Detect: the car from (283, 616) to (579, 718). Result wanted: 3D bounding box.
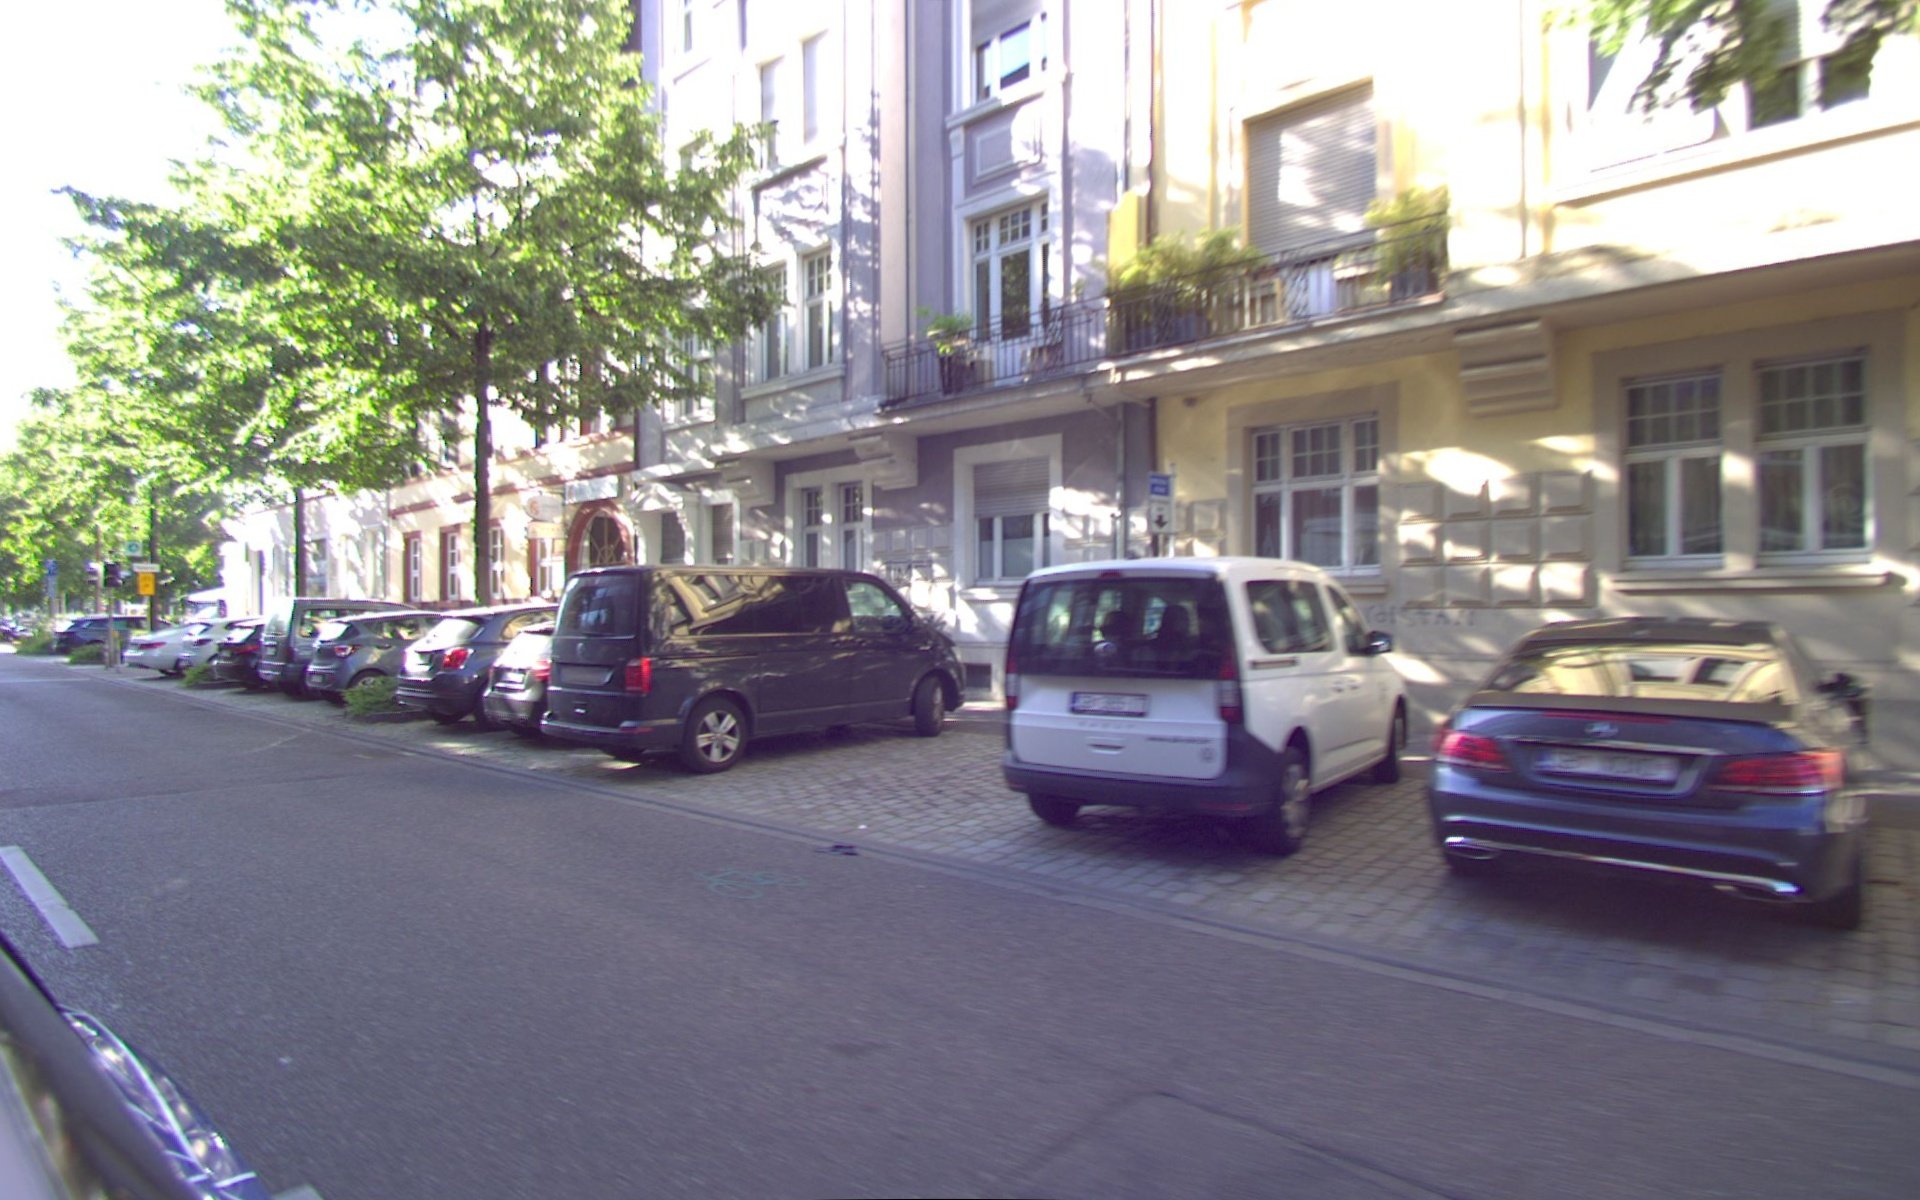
[{"bbox_3d":[-9.247,1.087,18.019,1.912,1.556,4.302,-1,-1,35],"label":"car"}]

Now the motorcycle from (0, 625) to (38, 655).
[{"bbox_3d":[-46.158,1.917,48.807,2.282,1.434,1.004,0,-1,-22],"label":"motorcycle"}]

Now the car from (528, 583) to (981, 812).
[{"bbox_3d":[-1.987,0.852,10.889,1.930,1.941,4.524,-1,-1,43],"label":"car"}]

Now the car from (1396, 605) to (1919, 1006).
[{"bbox_3d":[4.199,0.771,5.867,1.915,1.450,4.295,-1,-1,40],"label":"car"}]

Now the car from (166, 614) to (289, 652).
[{"bbox_3d":[-39.904,1.841,55.319,2.055,1.959,5.302,-1,-2,15],"label":"car"}]

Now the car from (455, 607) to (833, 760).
[{"bbox_3d":[-3.845,0.911,12.933,1.915,1.607,4.296,-1,-1,39],"label":"car"}]

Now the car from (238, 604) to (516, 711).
[{"bbox_3d":[-11.153,1.017,19.629,1.927,1.838,4.297,-1,-1,38],"label":"car"}]

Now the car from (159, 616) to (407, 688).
[{"bbox_3d":[-16.456,1.215,24.824,1.996,1.503,4.657,-2,-1,36],"label":"car"}]

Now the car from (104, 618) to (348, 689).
[{"bbox_3d":[-18.469,1.269,25.683,1.996,1.503,4.657,0,1,36],"label":"car"}]

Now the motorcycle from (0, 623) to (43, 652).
[{"bbox_3d":[-46.407,1.841,49.814,1.724,1.434,0.832,0,-1,-22],"label":"motorcycle"}]

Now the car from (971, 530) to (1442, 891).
[{"bbox_3d":[2.100,0.596,7.515,1.913,1.848,4.300,-1,-1,36],"label":"car"}]

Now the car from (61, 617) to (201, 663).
[{"bbox_3d":[-31.654,1.482,38.692,1.944,1.652,3.943,-1,-1,43],"label":"car"}]

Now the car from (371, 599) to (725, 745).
[{"bbox_3d":[-5.670,0.893,14.382,1.915,1.746,4.296,-1,-1,39],"label":"car"}]

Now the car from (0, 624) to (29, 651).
[{"bbox_3d":[-57.515,2.192,59.337,1.978,1.574,3.988,-1,-1,10],"label":"car"}]

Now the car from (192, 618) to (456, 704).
[{"bbox_3d":[-13.169,1.187,21.243,1.956,1.556,4.310,-1,-1,30],"label":"car"}]

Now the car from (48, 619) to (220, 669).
[{"bbox_3d":[-27.906,1.448,34.289,1.944,1.556,4.291,-1,-1,43],"label":"car"}]
